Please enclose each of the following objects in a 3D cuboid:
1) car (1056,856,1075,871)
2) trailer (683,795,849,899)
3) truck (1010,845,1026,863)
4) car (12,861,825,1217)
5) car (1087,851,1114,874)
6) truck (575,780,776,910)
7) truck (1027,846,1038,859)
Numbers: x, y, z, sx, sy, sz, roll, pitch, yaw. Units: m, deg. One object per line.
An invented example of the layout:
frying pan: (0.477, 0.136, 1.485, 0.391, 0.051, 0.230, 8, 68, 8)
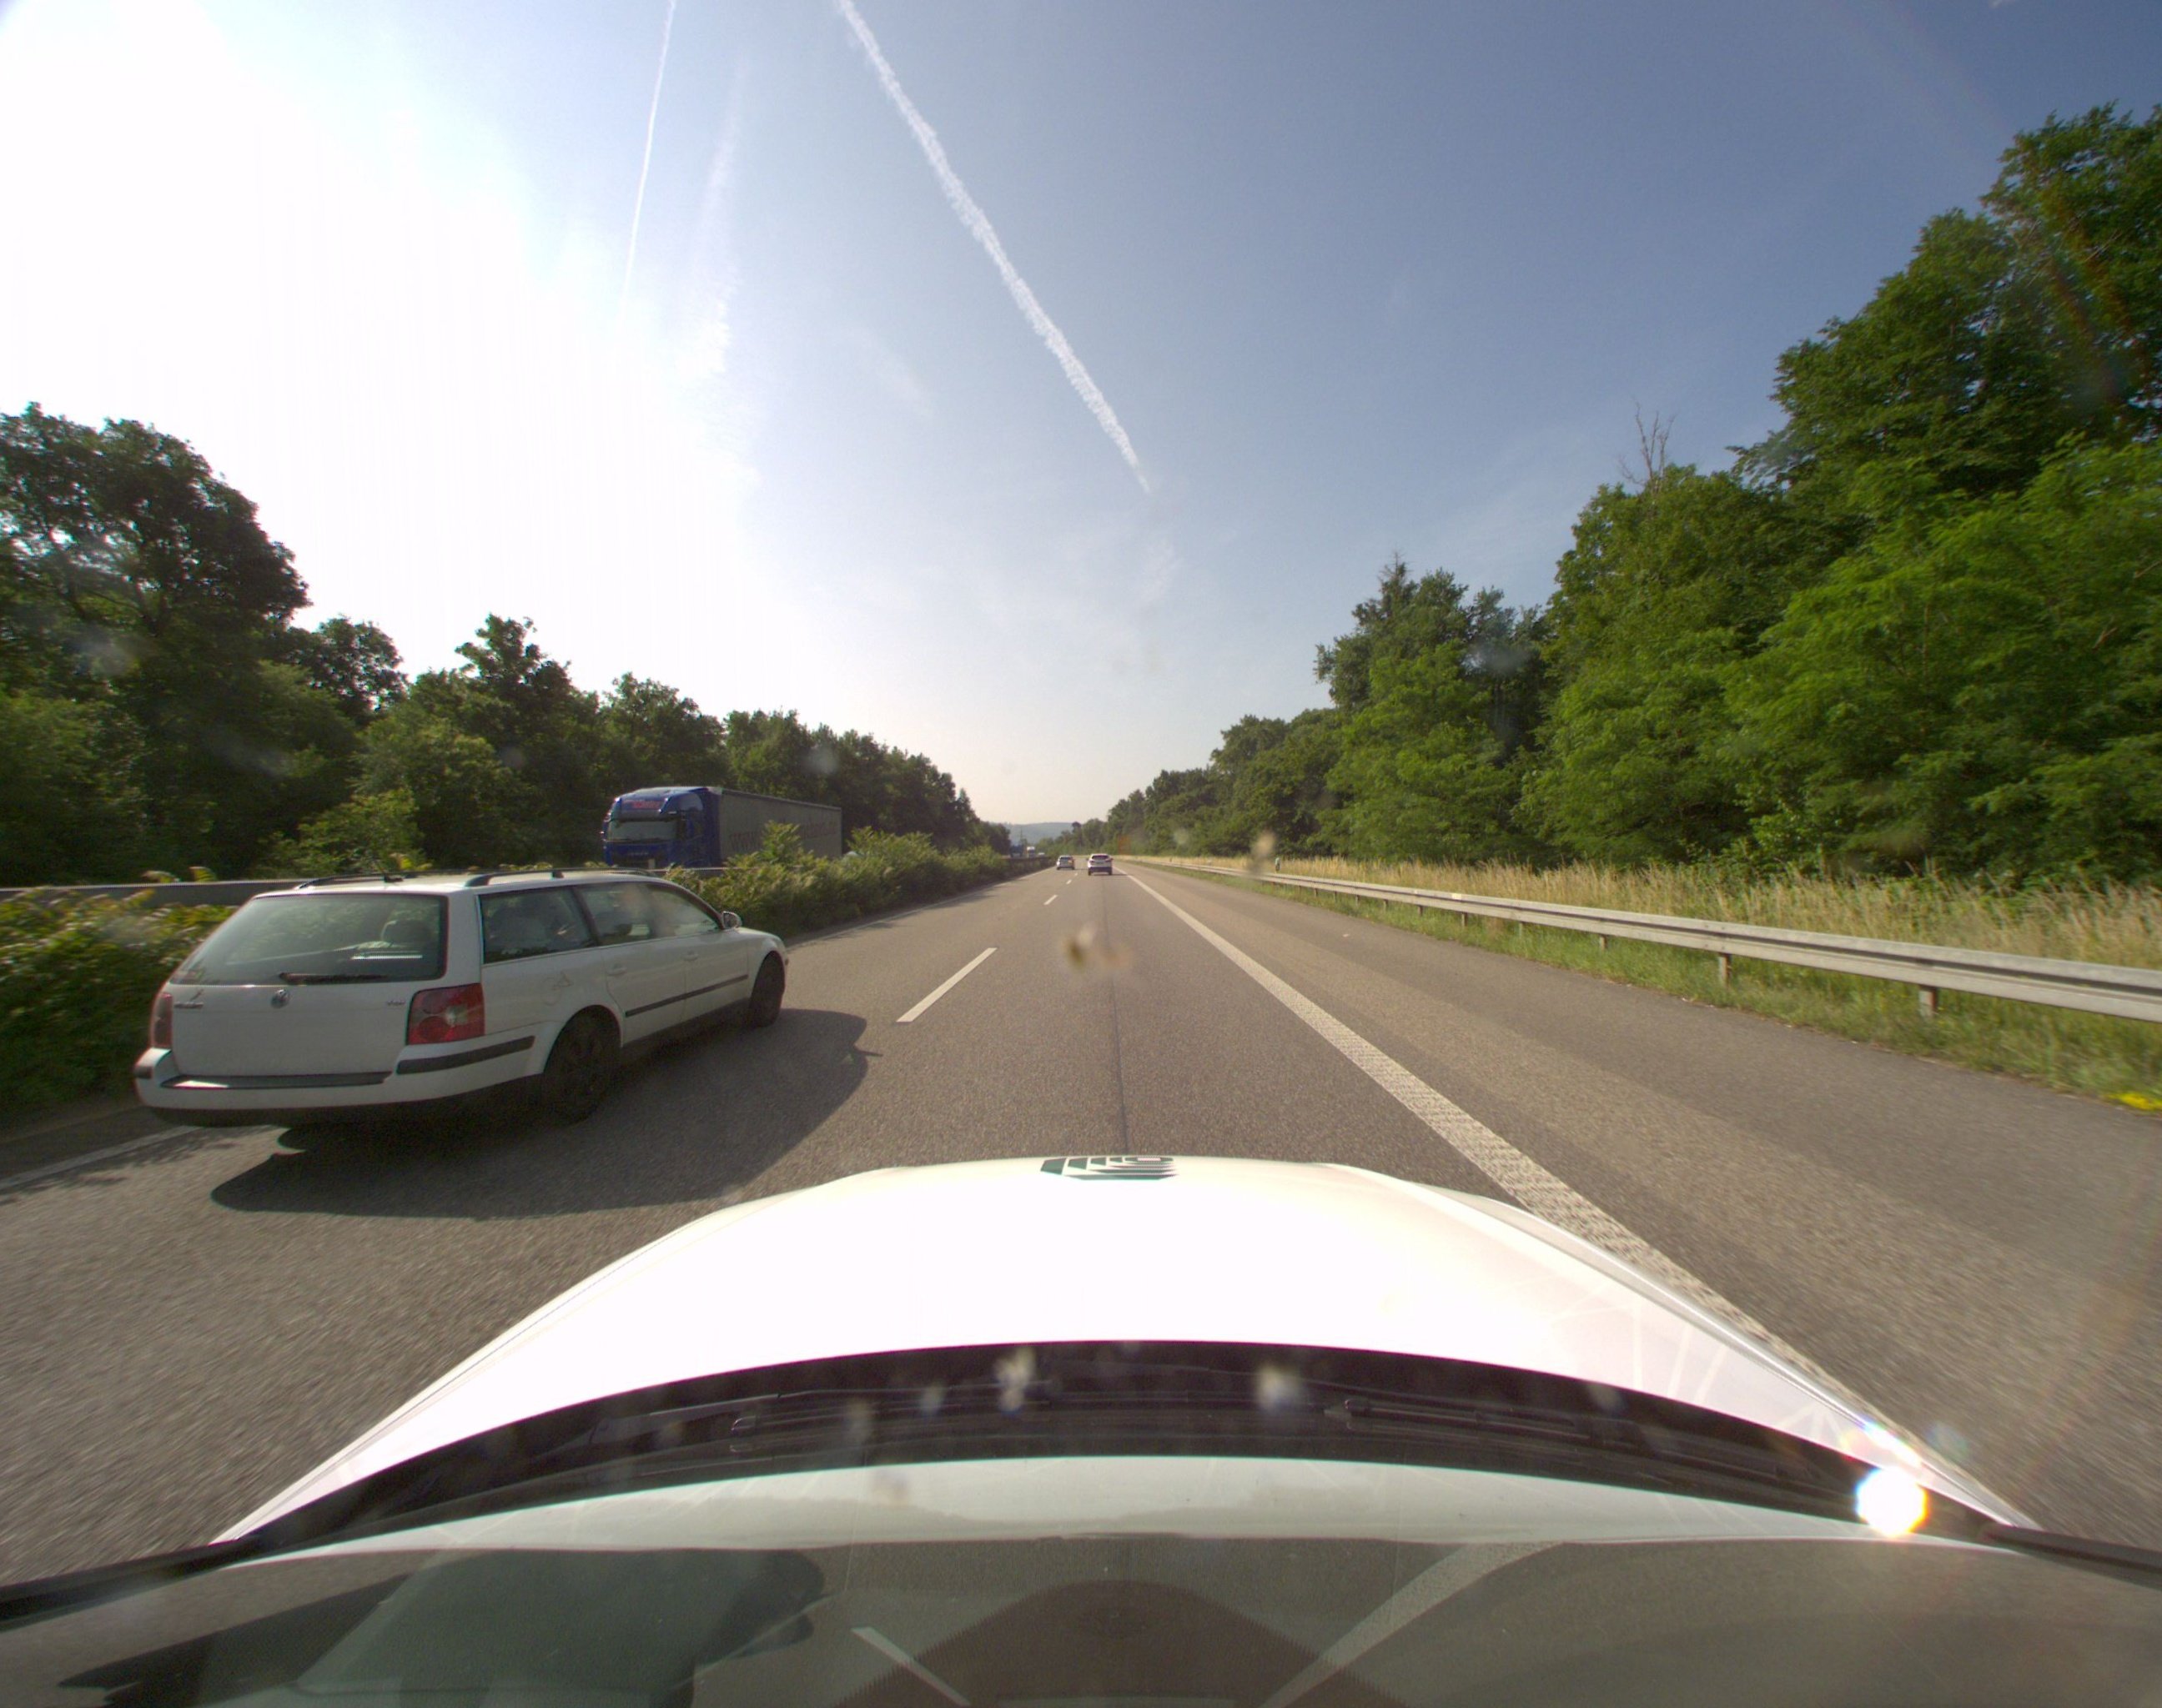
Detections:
car: (-1.587, 0.928, 84.699, 1.786, 1.438, 5.279, -1, 0, 1)
trailer: (-13.864, -0.280, 37.344, 2.821, 3.998, 11.438, -1, 0, 2)
truck: (-13.311, -0.060, 172.551, 2.792, 3.770, 8.474, -1, 0, 0)
car: (-3.711, 0.829, 6.171, 1.743, 1.485, 5.265, -1, 0, 2)
car: (1.464, 0.635, 60.444, 1.866, 1.586, 4.002, 1, 0, 2)
truck: (-14.130, -0.278, 29.421, 2.774, 3.998, 8.419, -1, 0, 2)
truck: (-15.272, -0.461, 256.063, 2.792, 3.693, 8.474, -1, 0, 0)
